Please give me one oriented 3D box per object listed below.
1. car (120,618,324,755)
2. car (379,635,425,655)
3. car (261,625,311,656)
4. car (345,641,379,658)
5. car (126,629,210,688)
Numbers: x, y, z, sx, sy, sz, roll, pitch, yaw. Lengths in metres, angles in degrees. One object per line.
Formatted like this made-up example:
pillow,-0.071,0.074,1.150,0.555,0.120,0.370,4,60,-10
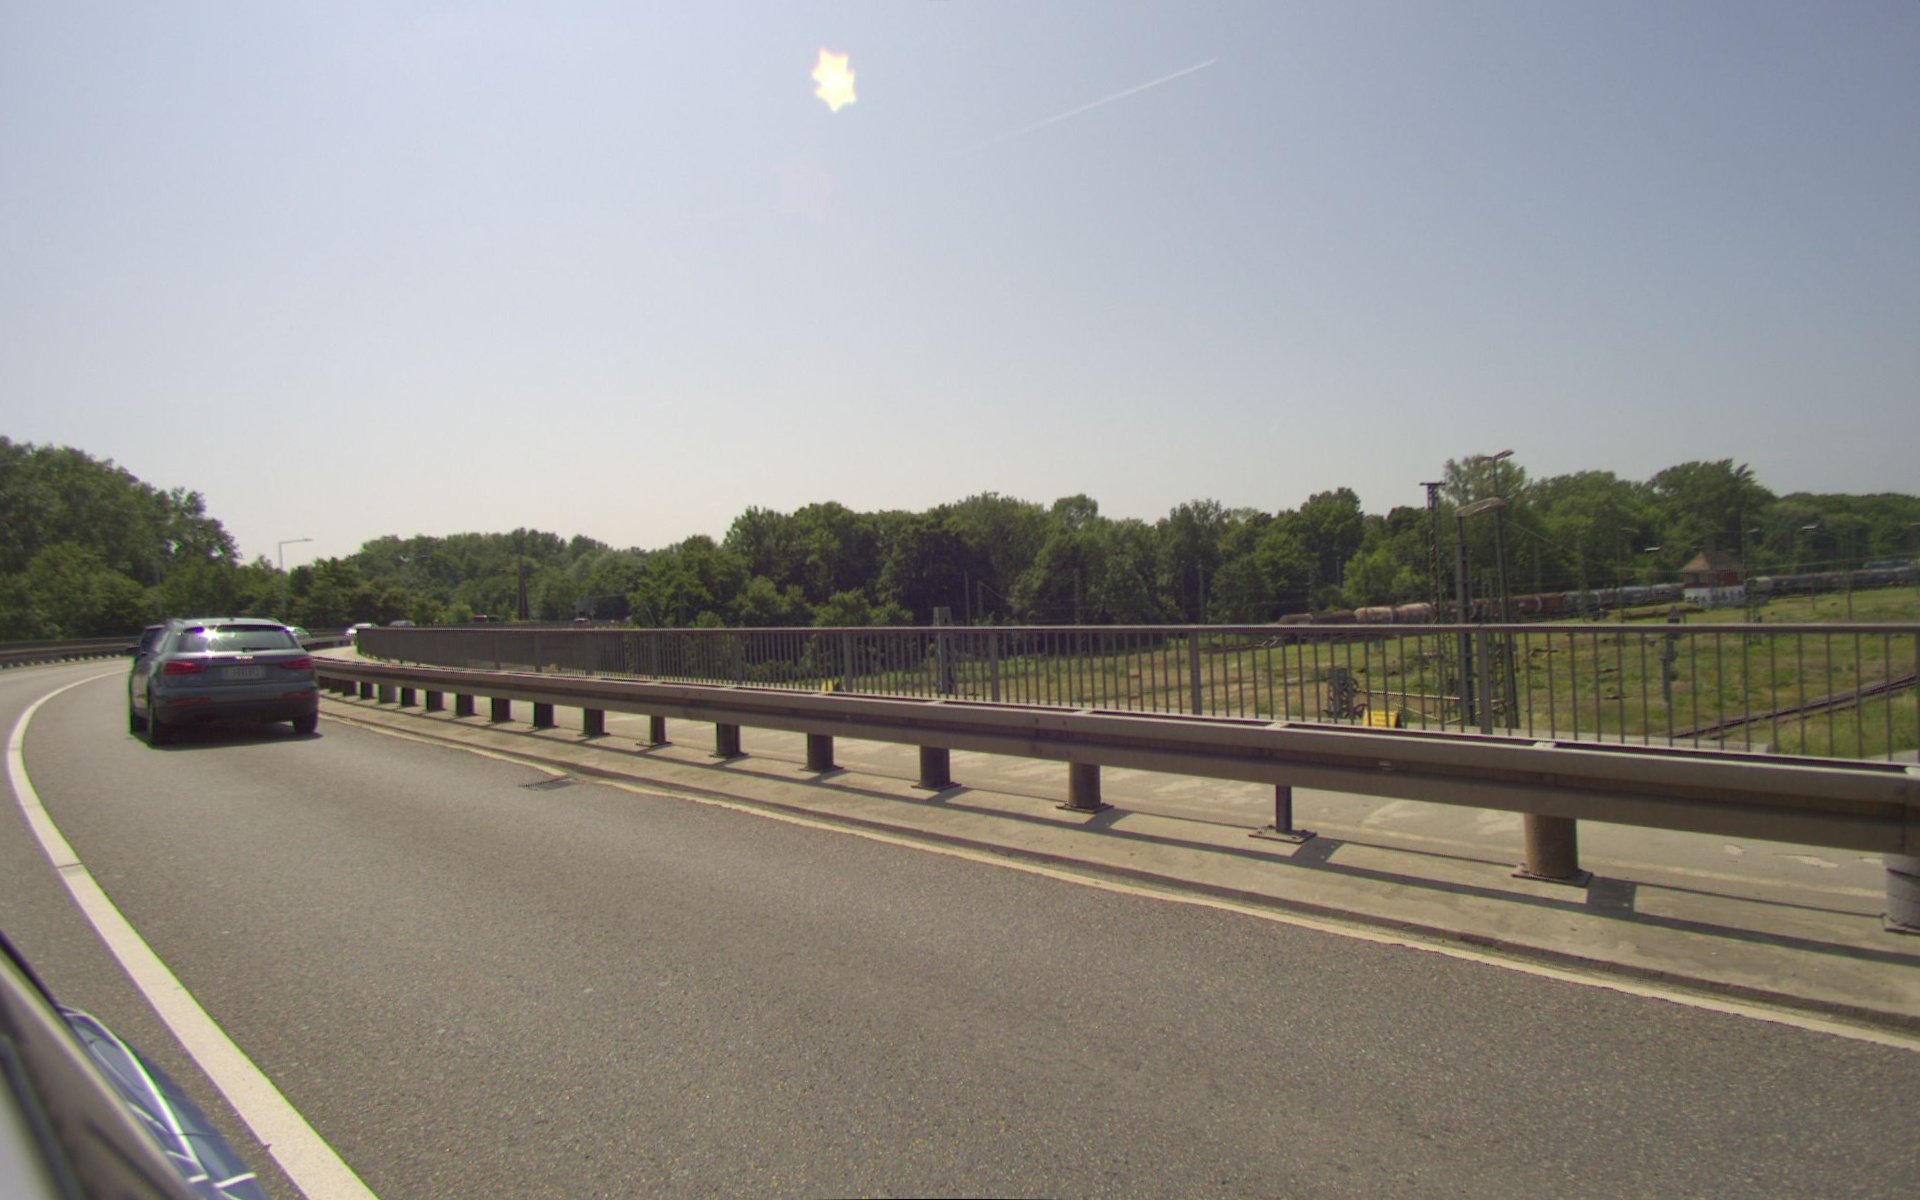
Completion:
car,-10.298,1.117,13.985,1.801,1.548,4.199,-1,-2,-43
car,-49.364,3.972,89.576,1.870,1.608,4.491,-2,-1,-5
car,-48.098,2.873,72.259,1.966,2.029,4.012,-2,-1,-19
car,-52.304,4.323,88.586,1.522,1.364,3.586,-2,-1,-12
car,-22.116,1.625,28.339,1.575,1.497,2.755,-2,-2,-33
